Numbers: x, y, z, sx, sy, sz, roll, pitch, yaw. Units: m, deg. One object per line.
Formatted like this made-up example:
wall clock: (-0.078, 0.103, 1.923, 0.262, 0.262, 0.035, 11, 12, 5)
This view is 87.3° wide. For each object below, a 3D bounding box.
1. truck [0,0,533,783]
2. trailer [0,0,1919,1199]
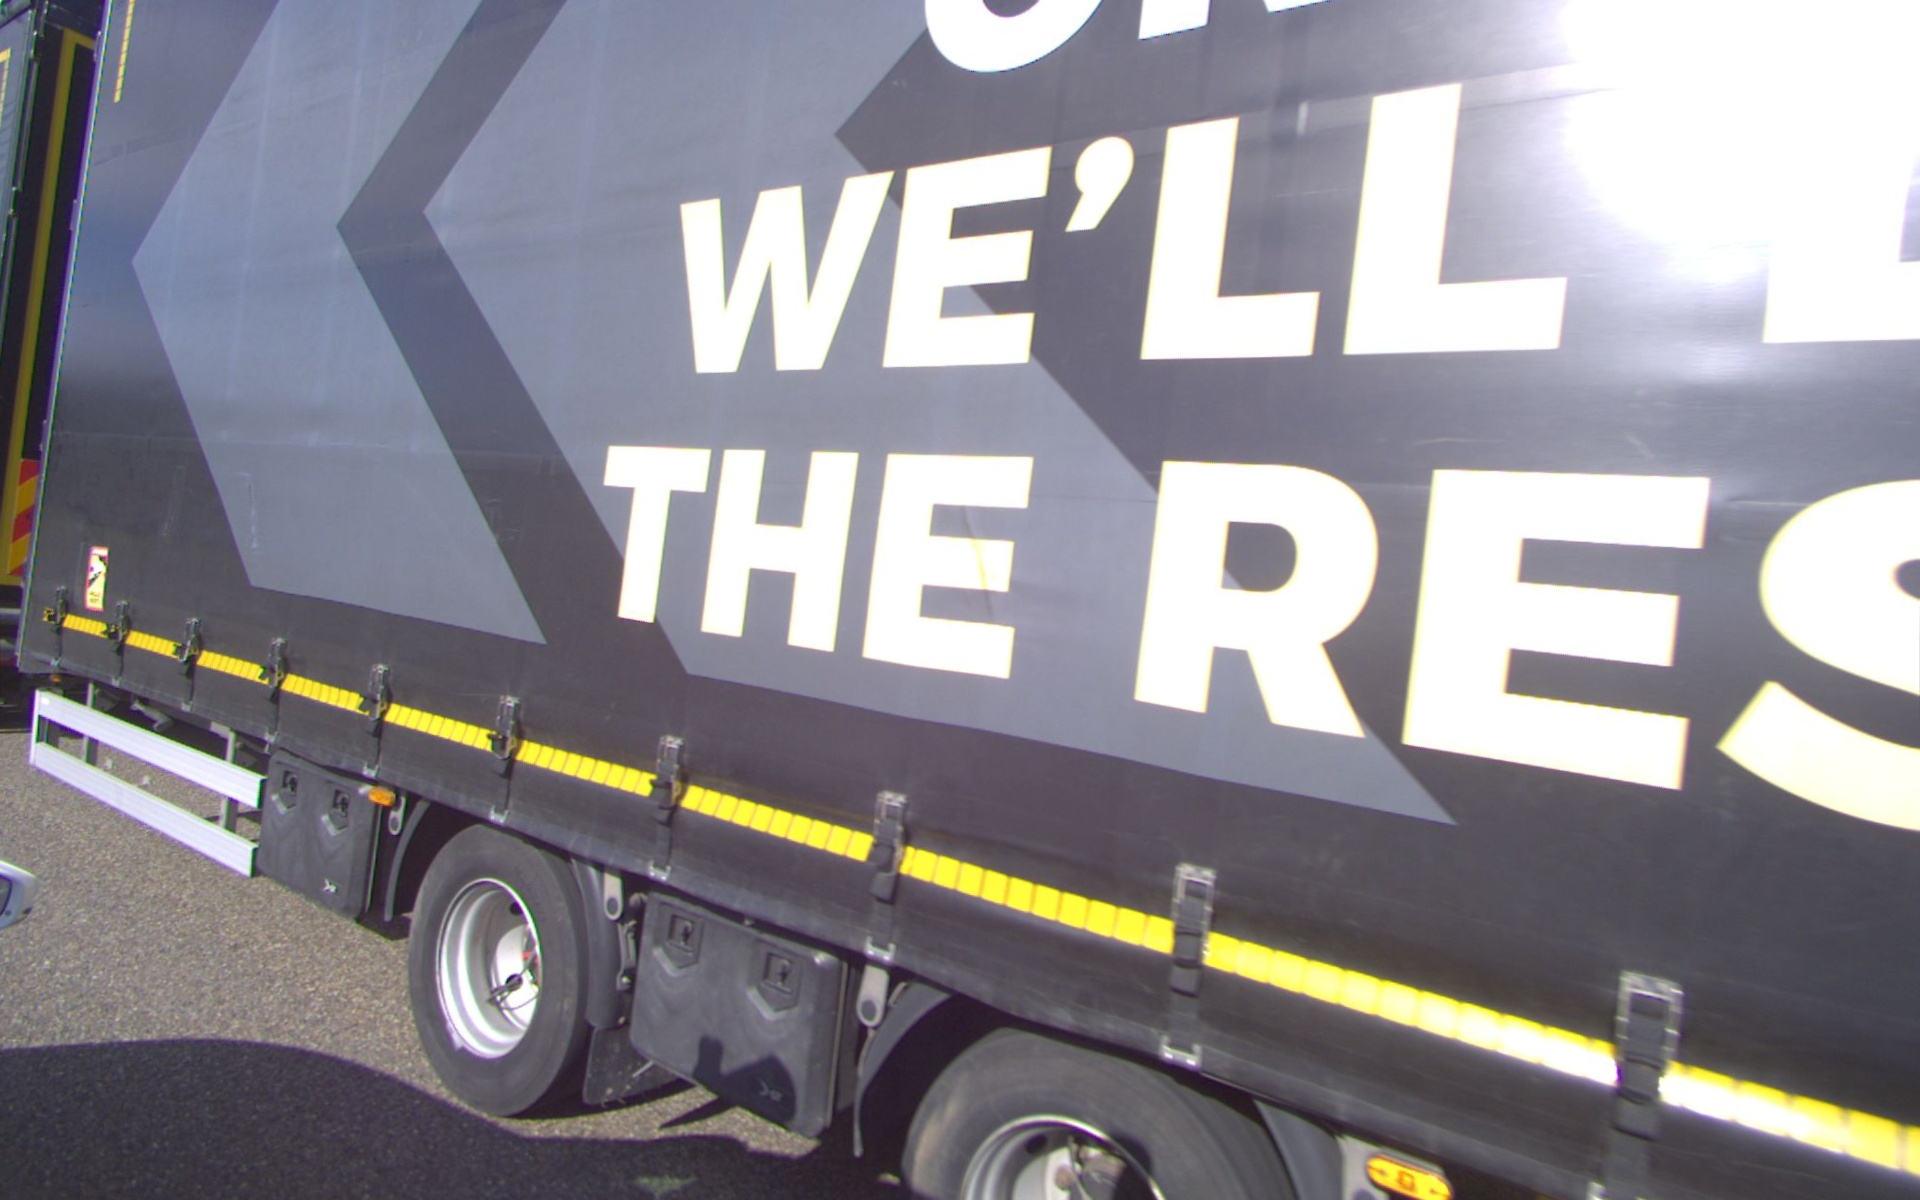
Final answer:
truck: (-8.200, -1.506, 8.455, 10.032, 4.086, 2.746, 6, -1, 31)
trailer: (-0.309, -0.521, 3.599, 8.566, 4.008, 2.720, 7, 0, 32)
